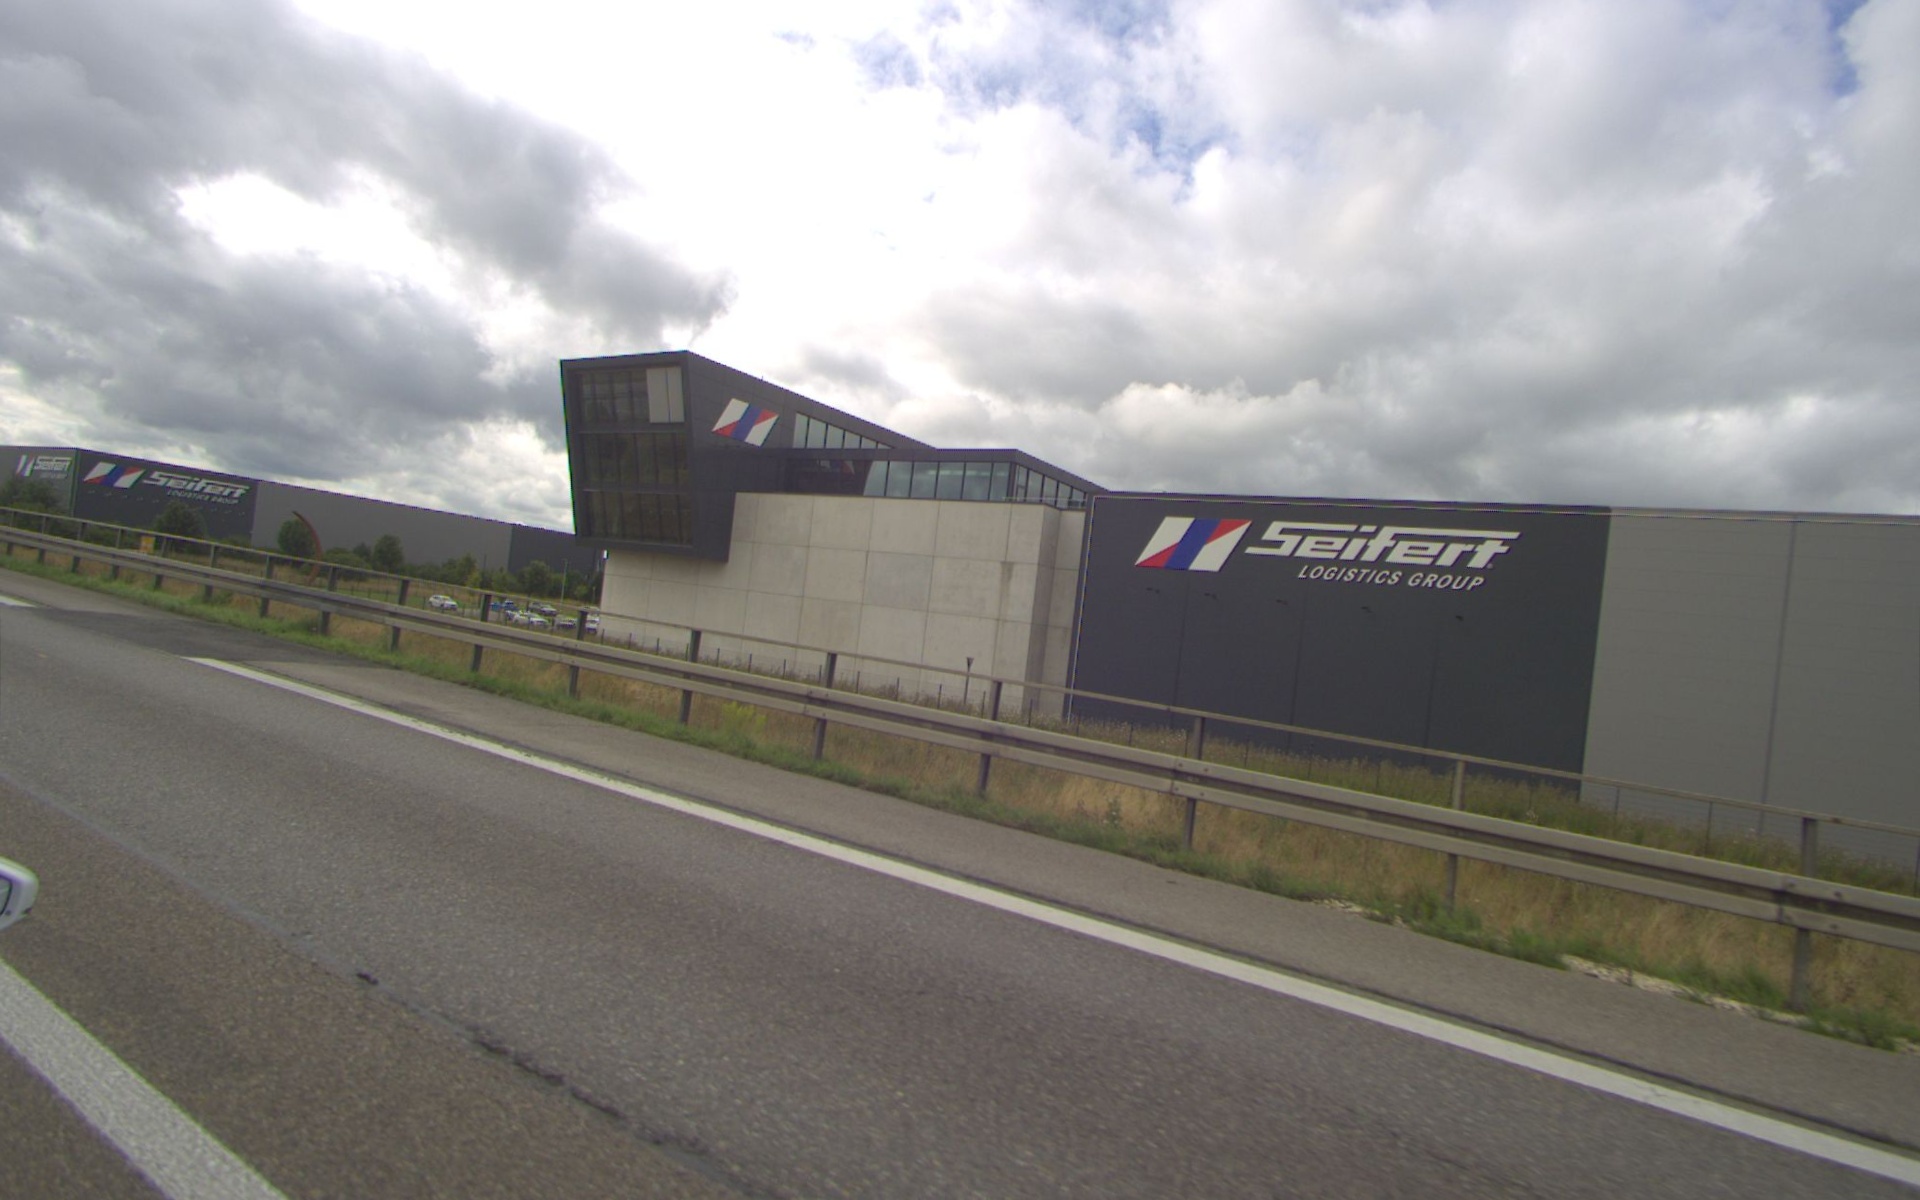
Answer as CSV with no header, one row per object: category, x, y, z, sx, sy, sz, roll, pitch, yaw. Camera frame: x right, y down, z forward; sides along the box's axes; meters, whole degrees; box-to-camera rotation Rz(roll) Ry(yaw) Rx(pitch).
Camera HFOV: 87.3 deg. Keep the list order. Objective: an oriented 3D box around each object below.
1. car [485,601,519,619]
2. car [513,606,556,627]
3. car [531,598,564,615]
car,-54.855,1.179,120.435,3.933,1.511,1.679,7,-2,31
car,-44.472,1.681,105.163,4.487,1.511,1.679,7,-2,31
car,-51.092,0.756,124.580,3.933,1.511,1.679,7,-2,31
